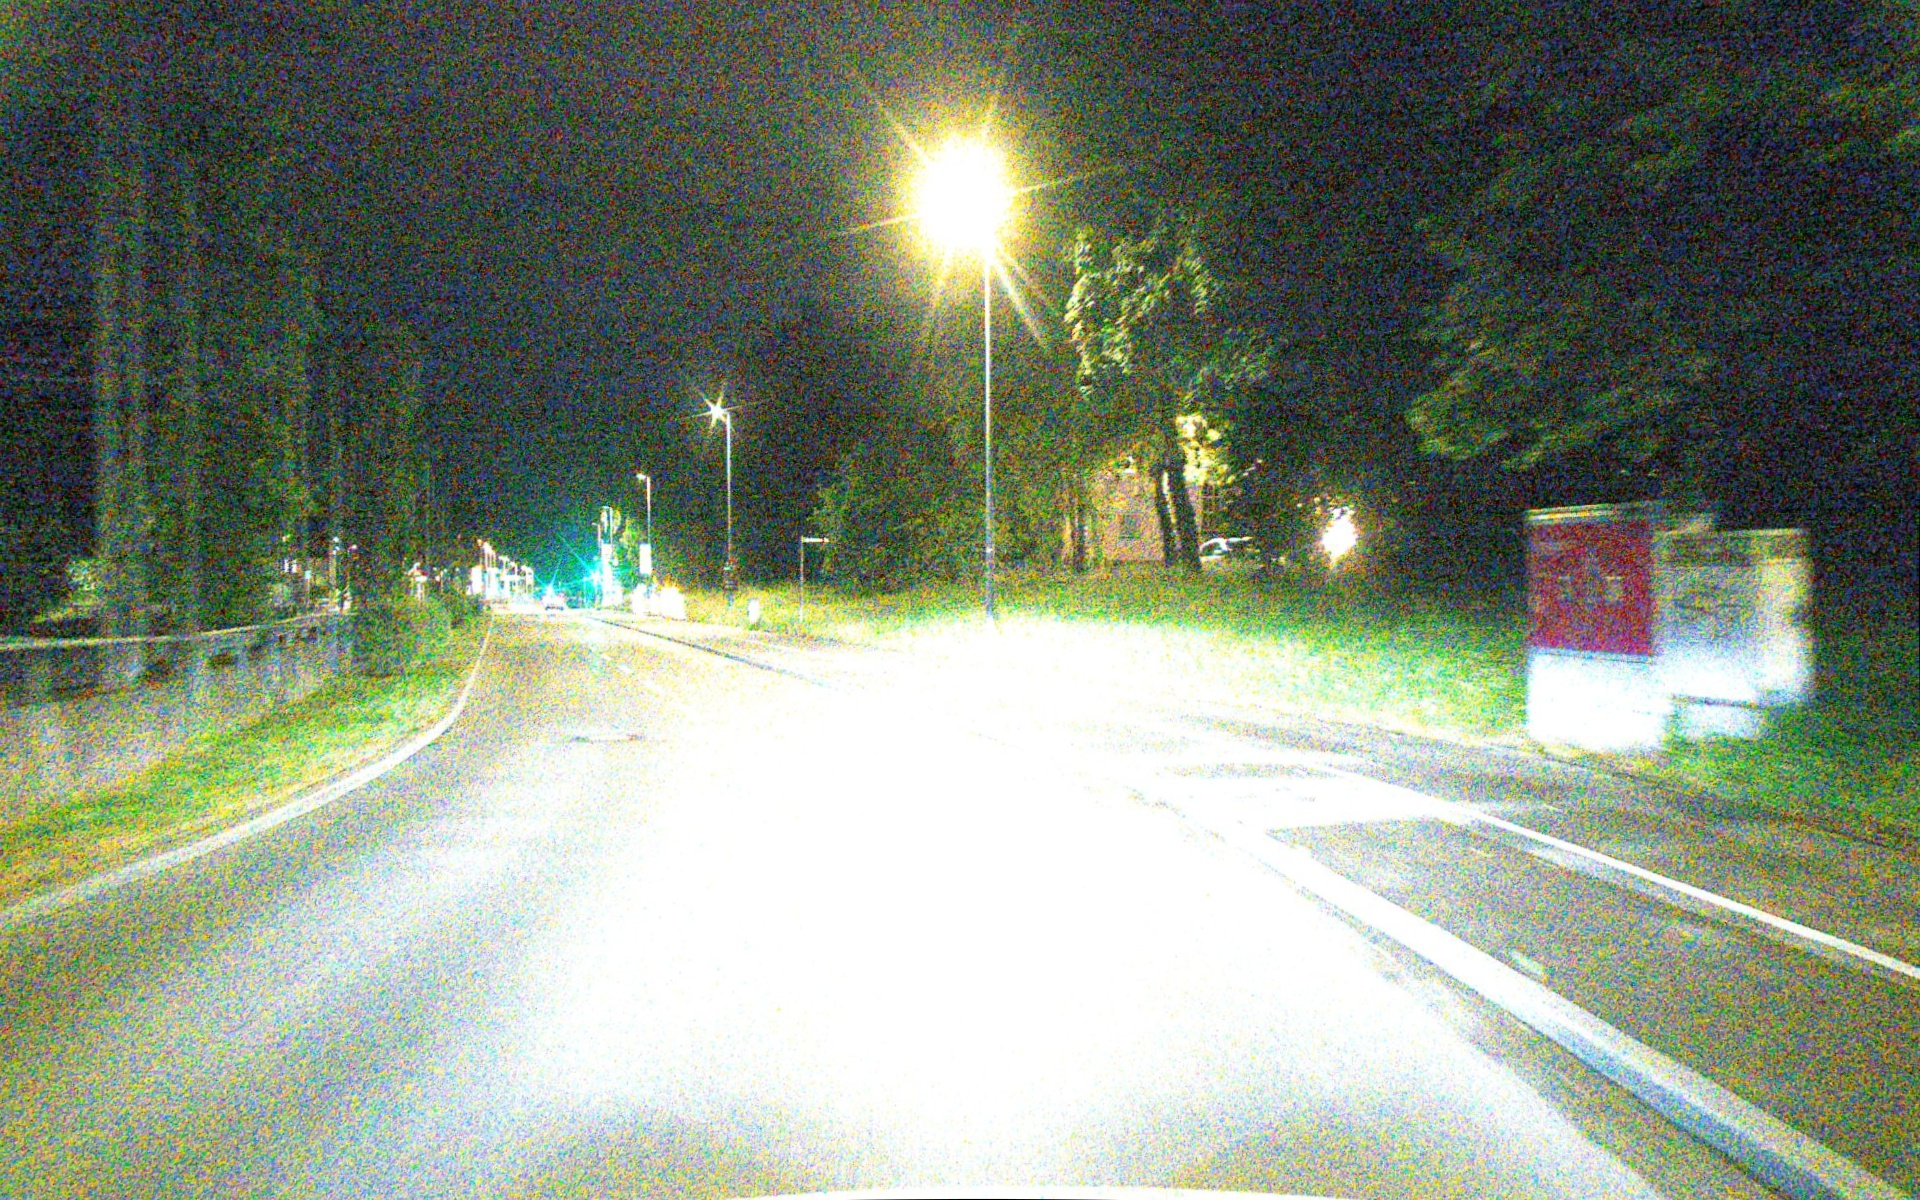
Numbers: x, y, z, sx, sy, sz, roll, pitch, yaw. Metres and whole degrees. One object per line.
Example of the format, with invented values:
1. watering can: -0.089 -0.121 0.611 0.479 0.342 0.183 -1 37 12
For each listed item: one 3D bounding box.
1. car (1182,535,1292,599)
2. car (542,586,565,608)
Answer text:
1. car: 8.713 -1.018 52.393 1.918 1.869 4.100 -3 1 -14
2. car: -39.023 -0.340 158.695 2.053 2.049 3.985 -1 0 -15
